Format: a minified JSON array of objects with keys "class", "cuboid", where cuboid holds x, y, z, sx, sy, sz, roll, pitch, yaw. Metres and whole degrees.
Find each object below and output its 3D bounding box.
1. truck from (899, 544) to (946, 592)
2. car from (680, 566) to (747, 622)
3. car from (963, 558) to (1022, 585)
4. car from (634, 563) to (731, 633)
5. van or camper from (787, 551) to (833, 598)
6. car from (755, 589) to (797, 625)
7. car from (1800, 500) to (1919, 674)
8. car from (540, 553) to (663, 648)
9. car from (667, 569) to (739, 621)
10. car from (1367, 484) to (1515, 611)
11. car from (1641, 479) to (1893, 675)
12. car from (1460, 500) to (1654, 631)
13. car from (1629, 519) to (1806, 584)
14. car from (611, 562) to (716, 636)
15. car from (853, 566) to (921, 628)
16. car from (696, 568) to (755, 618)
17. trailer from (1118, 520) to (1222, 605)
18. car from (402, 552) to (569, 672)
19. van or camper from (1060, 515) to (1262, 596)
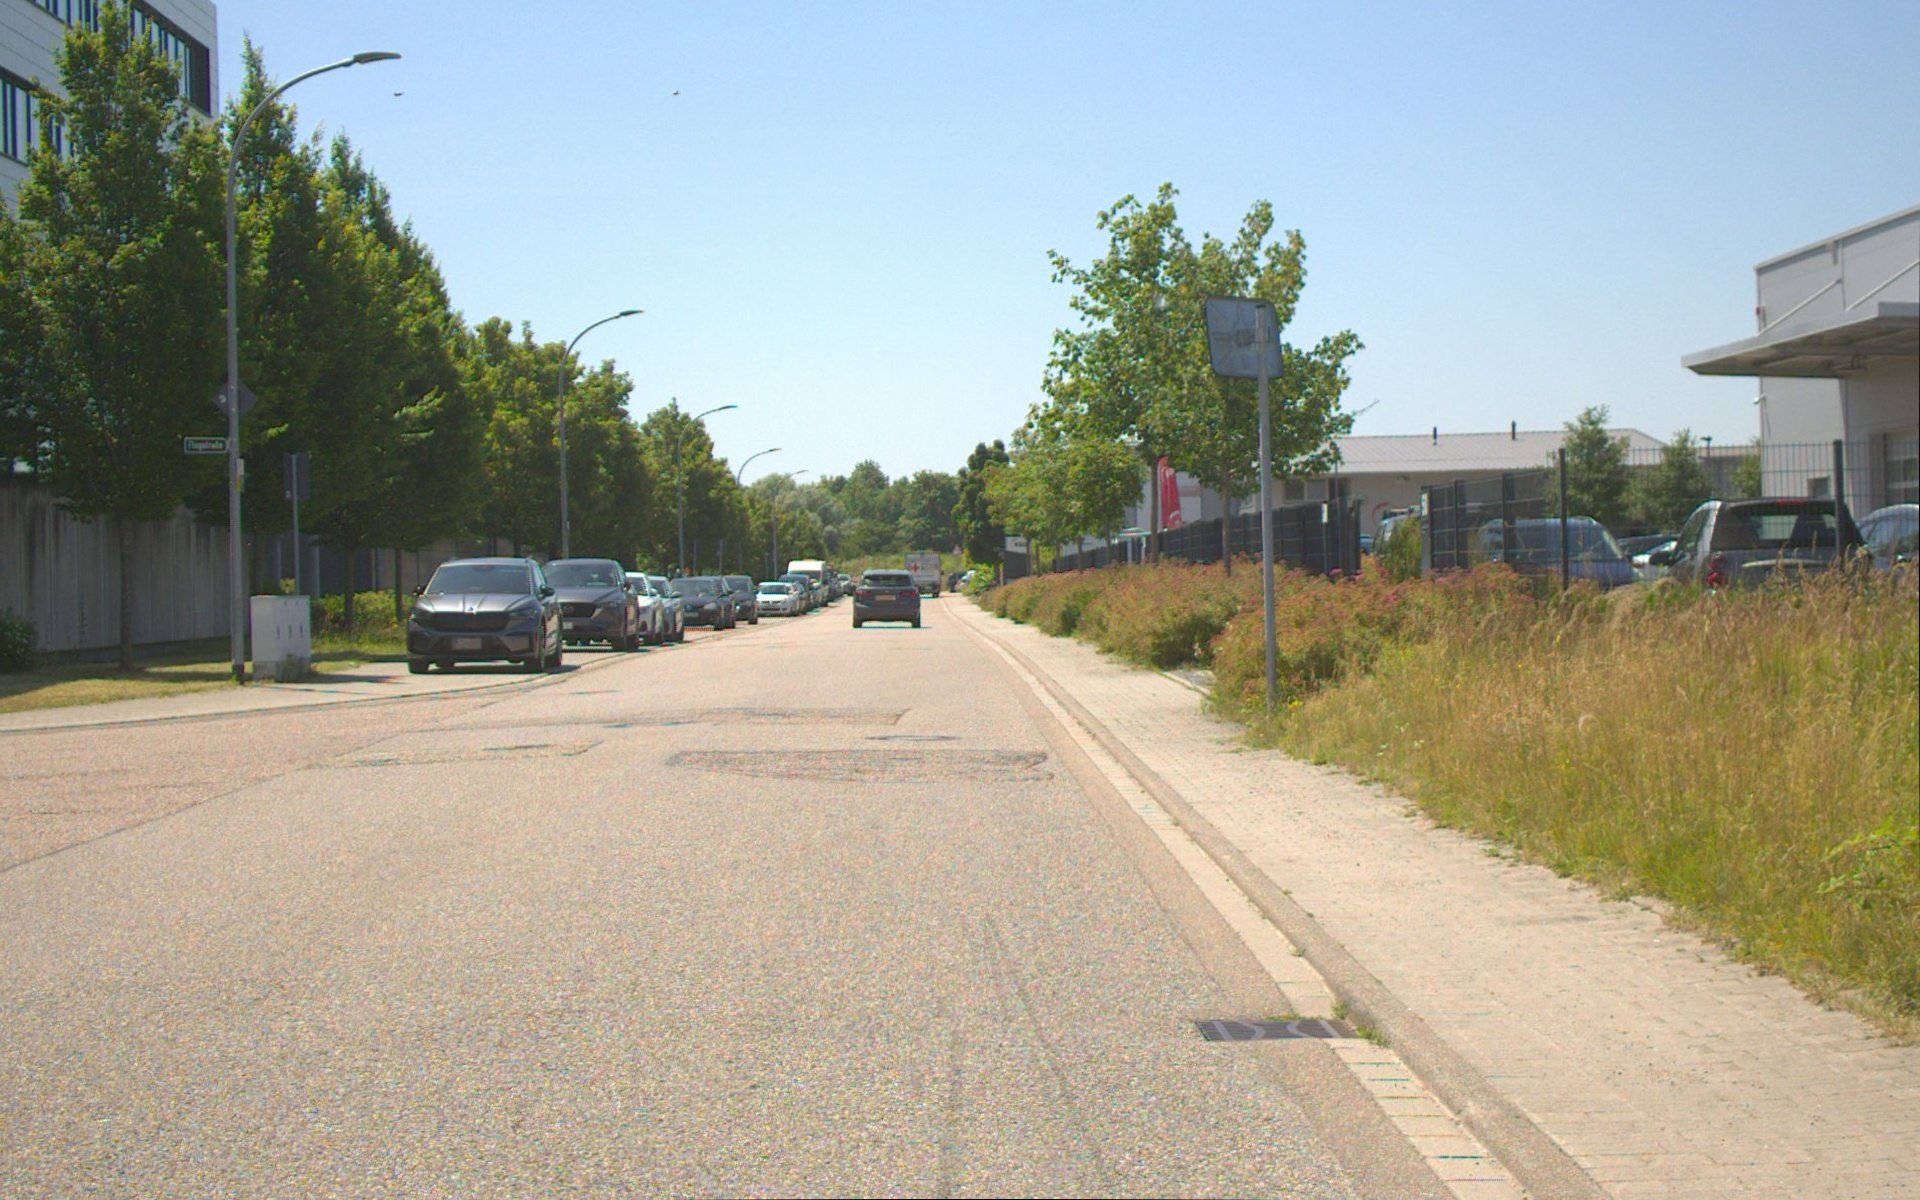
[{"class":"truck","cuboid":[-2.348,-2.025,219.418,2.933,2.964,6.419,1,0,0]},{"class":"car","cuboid":[-7.298,-0.194,102.158,1.770,1.606,4.852,-1,0,-2]},{"class":"car","cuboid":[2.209,-1.942,234.571,3.875,1.744,1.752,1,0,-3]},{"class":"car","cuboid":[-5.832,-0.055,72.582,1.771,1.426,3.940,0,0,-1]},{"class":"van or camper","cuboid":[-8.193,-1.378,188.232,2.078,2.474,6.130,1,0,2]},{"class":"car","cuboid":[-7.858,0.301,146.896,1.720,1.471,3.858,-1,0,-3]},{"class":"car","cuboid":[8.833,-0.144,31.107,1.514,1.490,3.332,-2,0,-2]},{"class":"car","cuboid":[-6.322,-0.011,60.989,1.771,1.618,4.582,0,0,-1]},{"class":"car","cuboid":[-7.178,-0.168,96.411,1.771,1.426,4.201,0,0,-1]},{"class":"car","cuboid":[8.477,-0.927,60.877,1.876,2.079,4.226,-3,1,-1]},{"class":"car","cuboid":[6.917,-0.196,29.675,1.466,1.568,2.662,-2,0,-1]},{"class":"car","cuboid":[7.747,-0.487,44.878,1.809,1.547,3.577,-3,2,-1]},{"class":"car","cuboid":[18.366,-1.176,83.482,3.873,1.398,1.767,-2,0,2]},{"class":"car","cuboid":[-5.826,-0.036,68.021,1.771,1.426,4.201,0,0,-1]},{"class":"car","cuboid":[-1.950,-0.093,92.661,1.789,1.618,3.809,1,0,-1]},{"class":"car","cuboid":[-7.812,-0.238,114.841,1.770,1.606,4.248,-1,0,-2]},{"class":"trailer","cuboid":[6.316,-1.124,103.539,2.822,2.395,1.420,-3,0,-4]},{"class":"car","cuboid":[-6.689,0.149,48.875,1.771,1.582,4.481,-1,0,-1]},{"class":"van or camper","cuboid":[6.964,-1.543,119.816,6.757,2.576,2.636,-2,0,-1]}]
